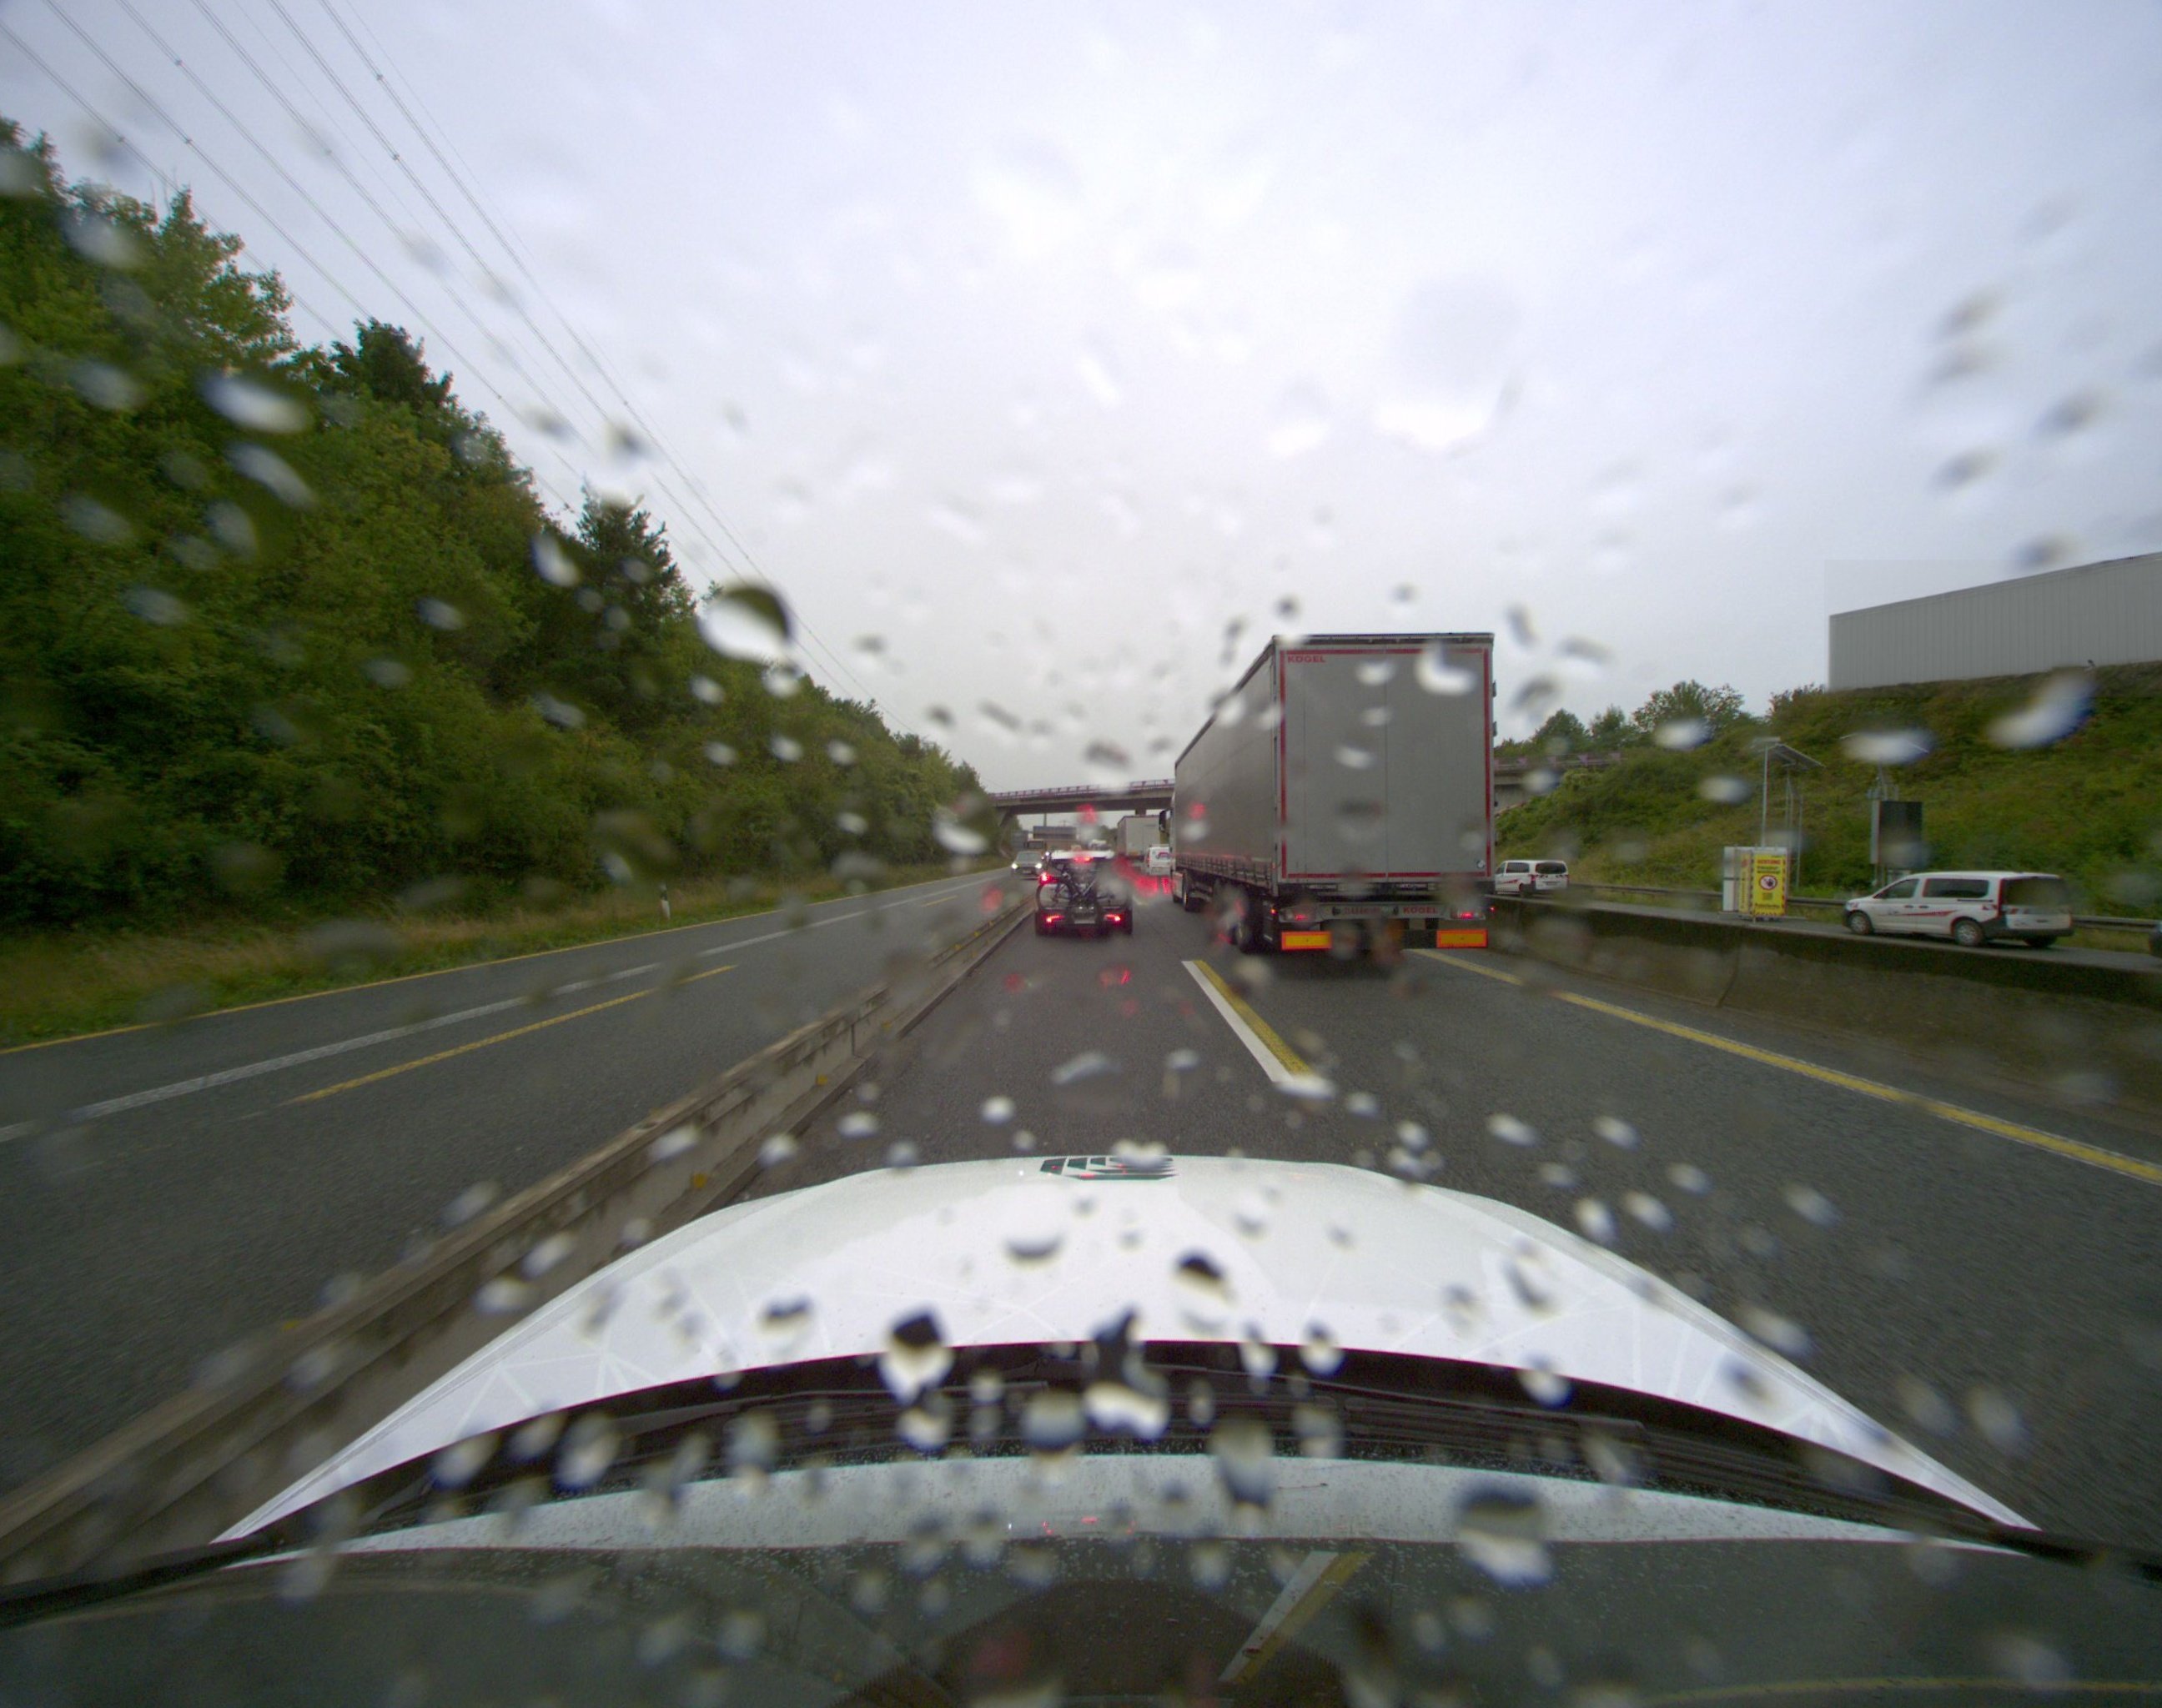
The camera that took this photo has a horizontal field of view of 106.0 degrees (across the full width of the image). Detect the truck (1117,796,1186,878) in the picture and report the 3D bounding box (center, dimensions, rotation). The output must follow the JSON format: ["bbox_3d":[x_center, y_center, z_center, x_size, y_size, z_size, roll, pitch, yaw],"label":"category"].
[{"bbox_3d":[5.340,-1.115,66.662,4.724,5.673,20.388,-1,0,3],"label":"truck"}]

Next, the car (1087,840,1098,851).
[{"bbox_3d":[2.314,-1.681,163.784,1.986,2.126,4.528,-1,0,1],"label":"car"}]

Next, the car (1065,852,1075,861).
[{"bbox_3d":[-1.944,0.417,139.792,1.681,1.409,3.929,-1,0,0],"label":"car"}]

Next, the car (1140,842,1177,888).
[{"bbox_3d":[3.871,0.549,41.257,1.663,2.180,4.537,-1,0,3],"label":"car"}]

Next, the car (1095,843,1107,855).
[{"bbox_3d":[3.447,-0.882,140.855,1.986,2.014,4.001,-1,0,1],"label":"car"}]

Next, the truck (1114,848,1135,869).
[{"bbox_3d":[4.445,0.456,84.094,1.986,2.014,4.001,-1,0,1],"label":"truck"}]

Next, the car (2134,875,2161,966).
[{"bbox_3d":[22.045,1.297,14.219,1.723,1.769,4.329,-1,0,0],"label":"car"}]

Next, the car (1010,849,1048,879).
[{"bbox_3d":[-2.934,0.554,46.837,1.803,1.633,4.119,-1,0,2],"label":"car"}]

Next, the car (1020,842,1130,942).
[{"bbox_3d":[0.011,0.641,15.747,1.803,1.637,4.638,-1,0,3],"label":"car"}]

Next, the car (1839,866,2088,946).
[{"bbox_3d":[22.161,1.213,20.743,1.723,1.757,4.268,-1,0,0],"label":"car"}]

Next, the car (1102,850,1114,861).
[{"bbox_3d":[3.846,0.203,114.629,1.632,1.497,3.667,-1,0,1],"label":"car"}]

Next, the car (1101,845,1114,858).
[{"bbox_3d":[4.182,-0.447,128.328,1.986,2.014,4.001,-1,0,1],"label":"car"}]

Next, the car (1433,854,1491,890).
[{"bbox_3d":[22.888,1.061,49.087,1.721,2.058,4.128,-1,0,3],"label":"car"}]

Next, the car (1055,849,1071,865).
[{"bbox_3d":[-2.141,0.385,99.549,1.804,1.824,4.634,-1,0,0],"label":"car"}]

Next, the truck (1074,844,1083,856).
[{"bbox_3d":[-0.831,-1.212,244.022,2.526,3.352,12.050,-1,0,1],"label":"truck"}]

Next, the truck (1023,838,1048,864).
[{"bbox_3d":[-6.046,-0.344,110.658,2.526,3.352,12.050,-1,0,1],"label":"truck"}]

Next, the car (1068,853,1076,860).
[{"bbox_3d":[-1.824,0.549,165.489,1.681,1.409,3.929,-1,0,0],"label":"car"}]

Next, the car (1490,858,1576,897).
[{"bbox_3d":[22.681,1.152,41.068,1.934,1.829,4.731,-1,0,3],"label":"car"}]

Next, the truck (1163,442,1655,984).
[{"bbox_3d":[4.463,-1.433,18.783,3.964,5.673,20.388,-1,0,3],"label":"truck"}]

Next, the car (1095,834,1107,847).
[{"bbox_3d":[3.763,-2.549,153.778,2.231,2.307,4.573,-1,0,1],"label":"car"}]
